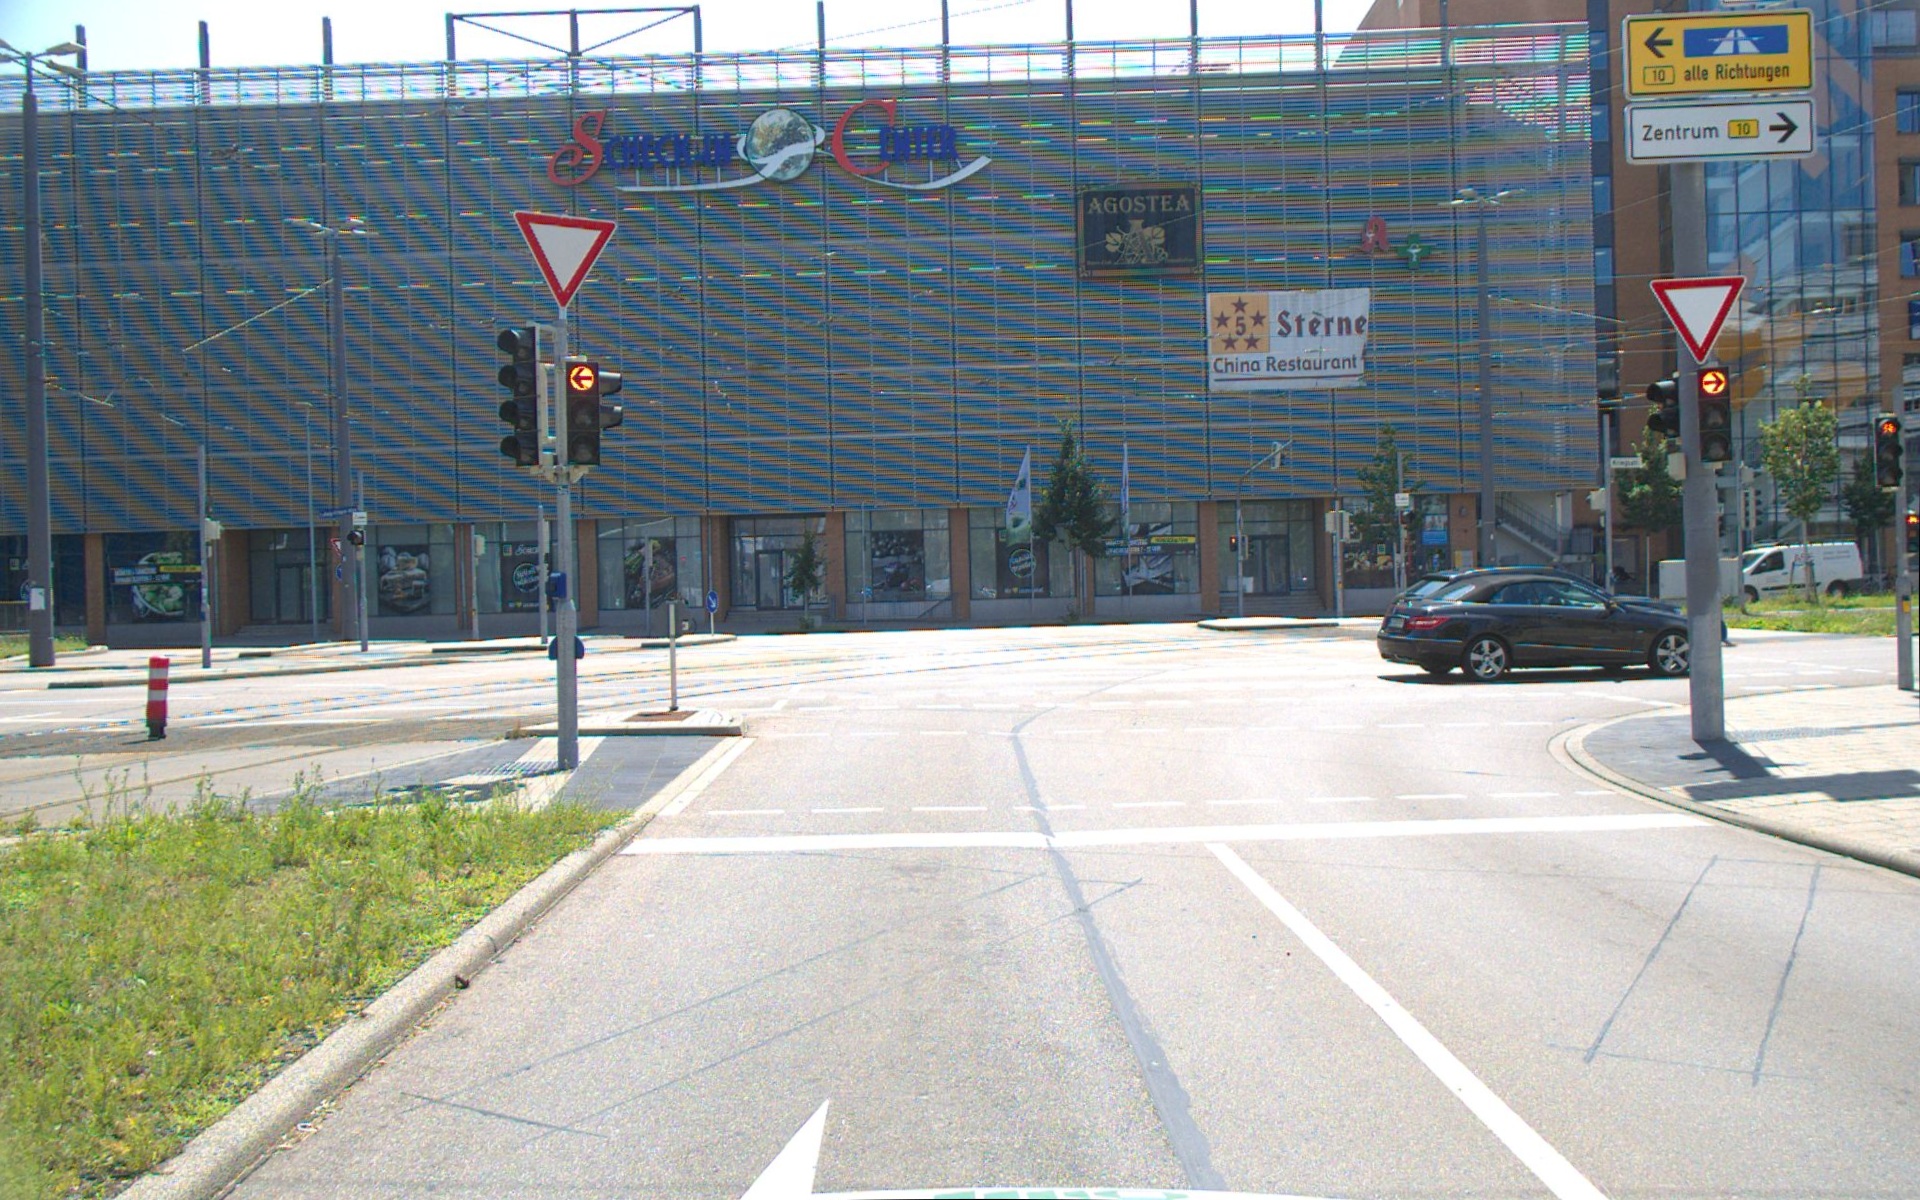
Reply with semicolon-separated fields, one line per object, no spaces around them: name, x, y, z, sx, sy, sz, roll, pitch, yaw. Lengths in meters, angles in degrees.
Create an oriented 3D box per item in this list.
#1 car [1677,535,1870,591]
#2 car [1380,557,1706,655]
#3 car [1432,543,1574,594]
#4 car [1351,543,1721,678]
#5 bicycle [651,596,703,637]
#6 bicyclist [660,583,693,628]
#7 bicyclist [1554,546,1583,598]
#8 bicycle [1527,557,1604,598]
car;26.246;-1.192;53.434;5.357;1.697;1.998;-1;1;-6
car;9.460;0.074;27.057;4.669;1.485;1.887;-1;1;-3
car;17.250;-1.010;52.653;3.907;1.565;1.881;-1;1;-2
car;8.017;0.117;23.268;4.460;1.603;1.998;-3;1;-5
bicycle;-10.370;0.579;60.721;1.039;1.414;3.026;0;1;7
bicyclist;-10.385;0.191;60.623;1.017;1.599;0.778;0;1;6
bicyclist;24.232;-1.105;65.837;0.893;2.048;0.748;-1;1;2
bicycle;24.120;-0.909;65.878;2.790;1.584;0.705;-1;1;2
